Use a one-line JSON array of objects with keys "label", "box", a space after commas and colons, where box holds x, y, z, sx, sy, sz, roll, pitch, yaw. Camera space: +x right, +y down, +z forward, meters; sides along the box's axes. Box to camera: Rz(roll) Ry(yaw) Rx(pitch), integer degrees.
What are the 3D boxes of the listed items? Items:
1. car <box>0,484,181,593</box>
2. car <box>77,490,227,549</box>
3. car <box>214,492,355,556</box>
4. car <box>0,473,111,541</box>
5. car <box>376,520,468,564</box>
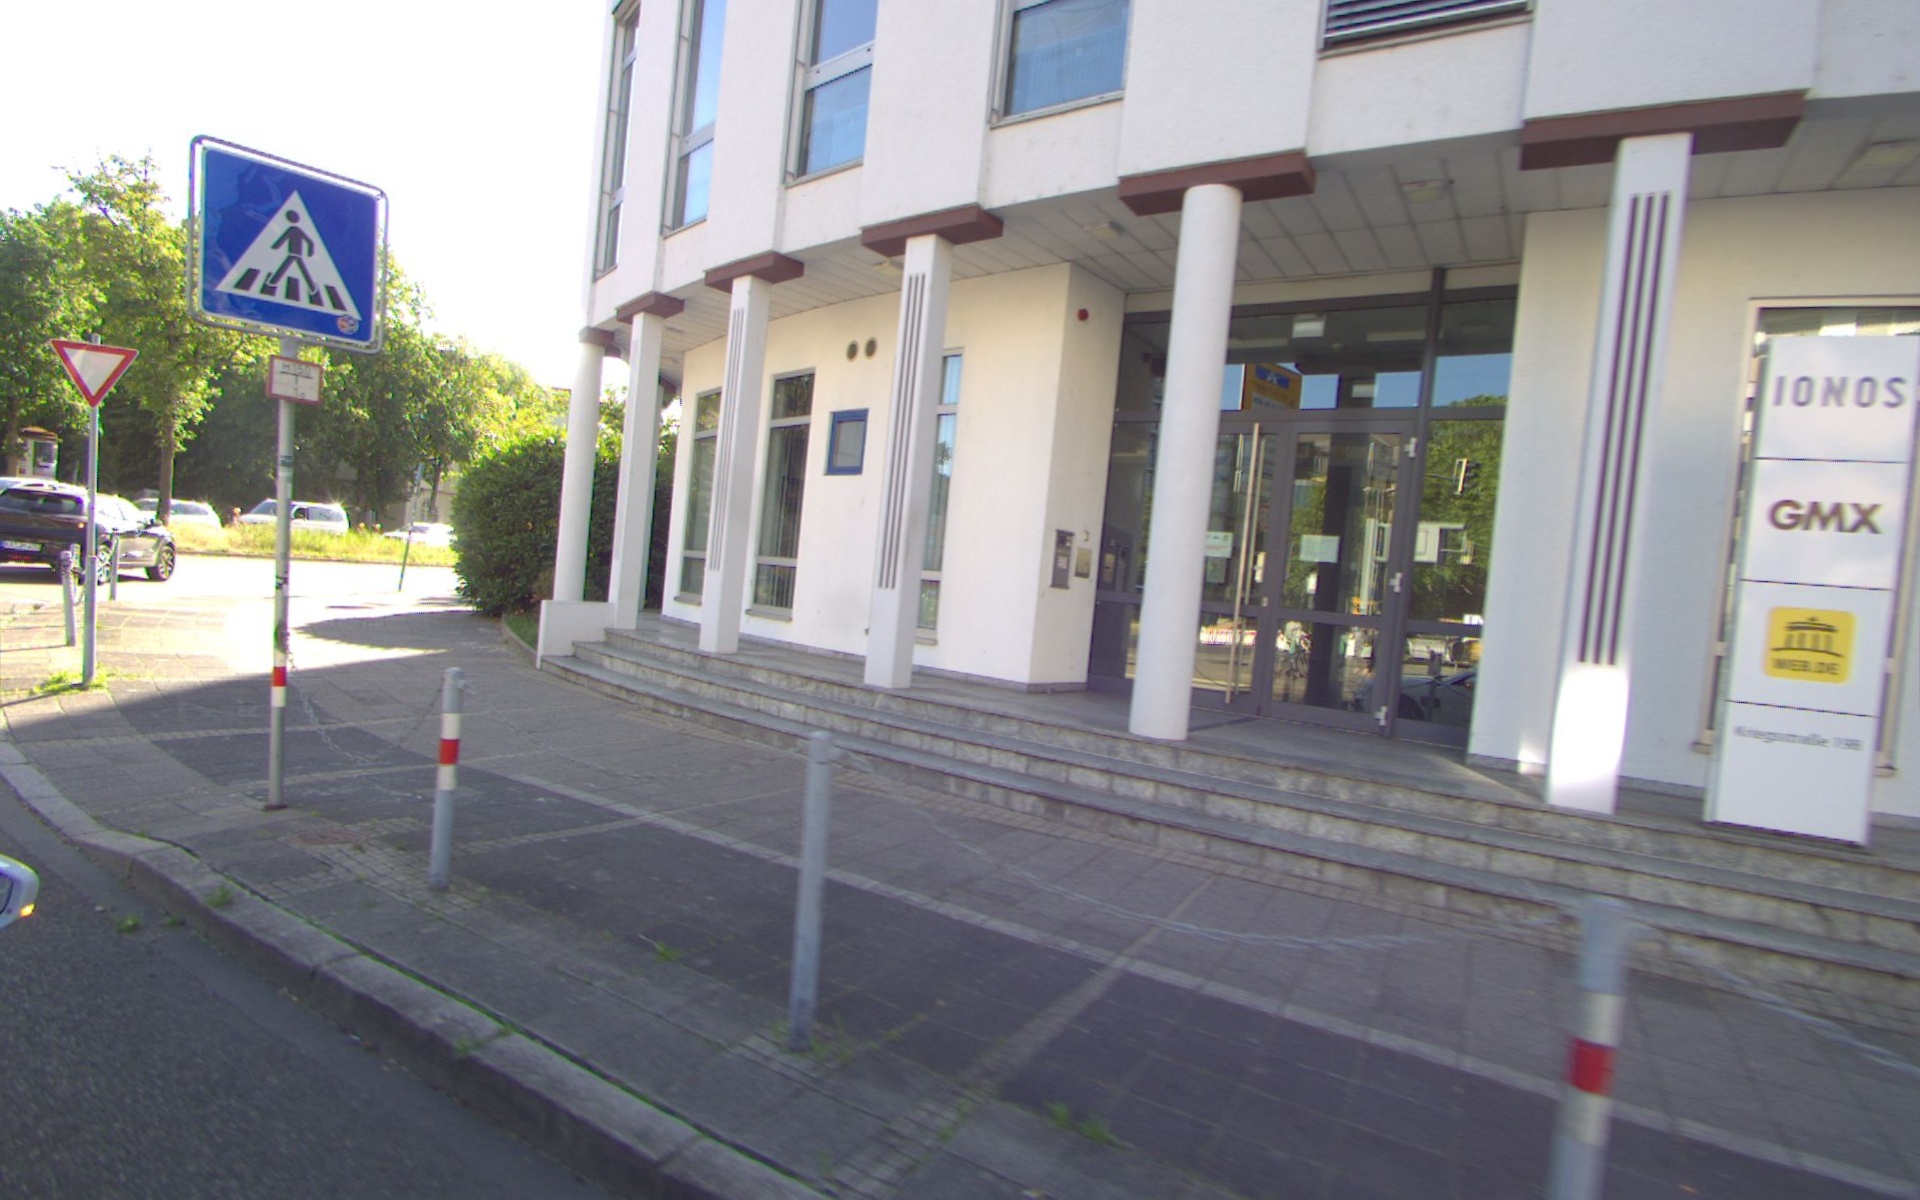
[{"label": "car", "box": [-15.800, -1.128, 18.044, 1.877, 1.538, 3.974, 8, 1, -25]}, {"label": "car", "box": [-28.080, -2.749, 35.149, 1.768, 1.538, 4.079, 6, 0, 2]}, {"label": "car", "box": [-28.057, -3.110, 42.042, 2.198, 2.053, 5.016, 6, 0, 2]}, {"label": "car", "box": [-25.168, -2.552, 26.534, 1.768, 1.538, 4.204, 6, 0, 2]}, {"label": "car", "box": [-27.479, -2.912, 51.584, 1.767, 1.765, 5.031, 6, 0, 2]}]
